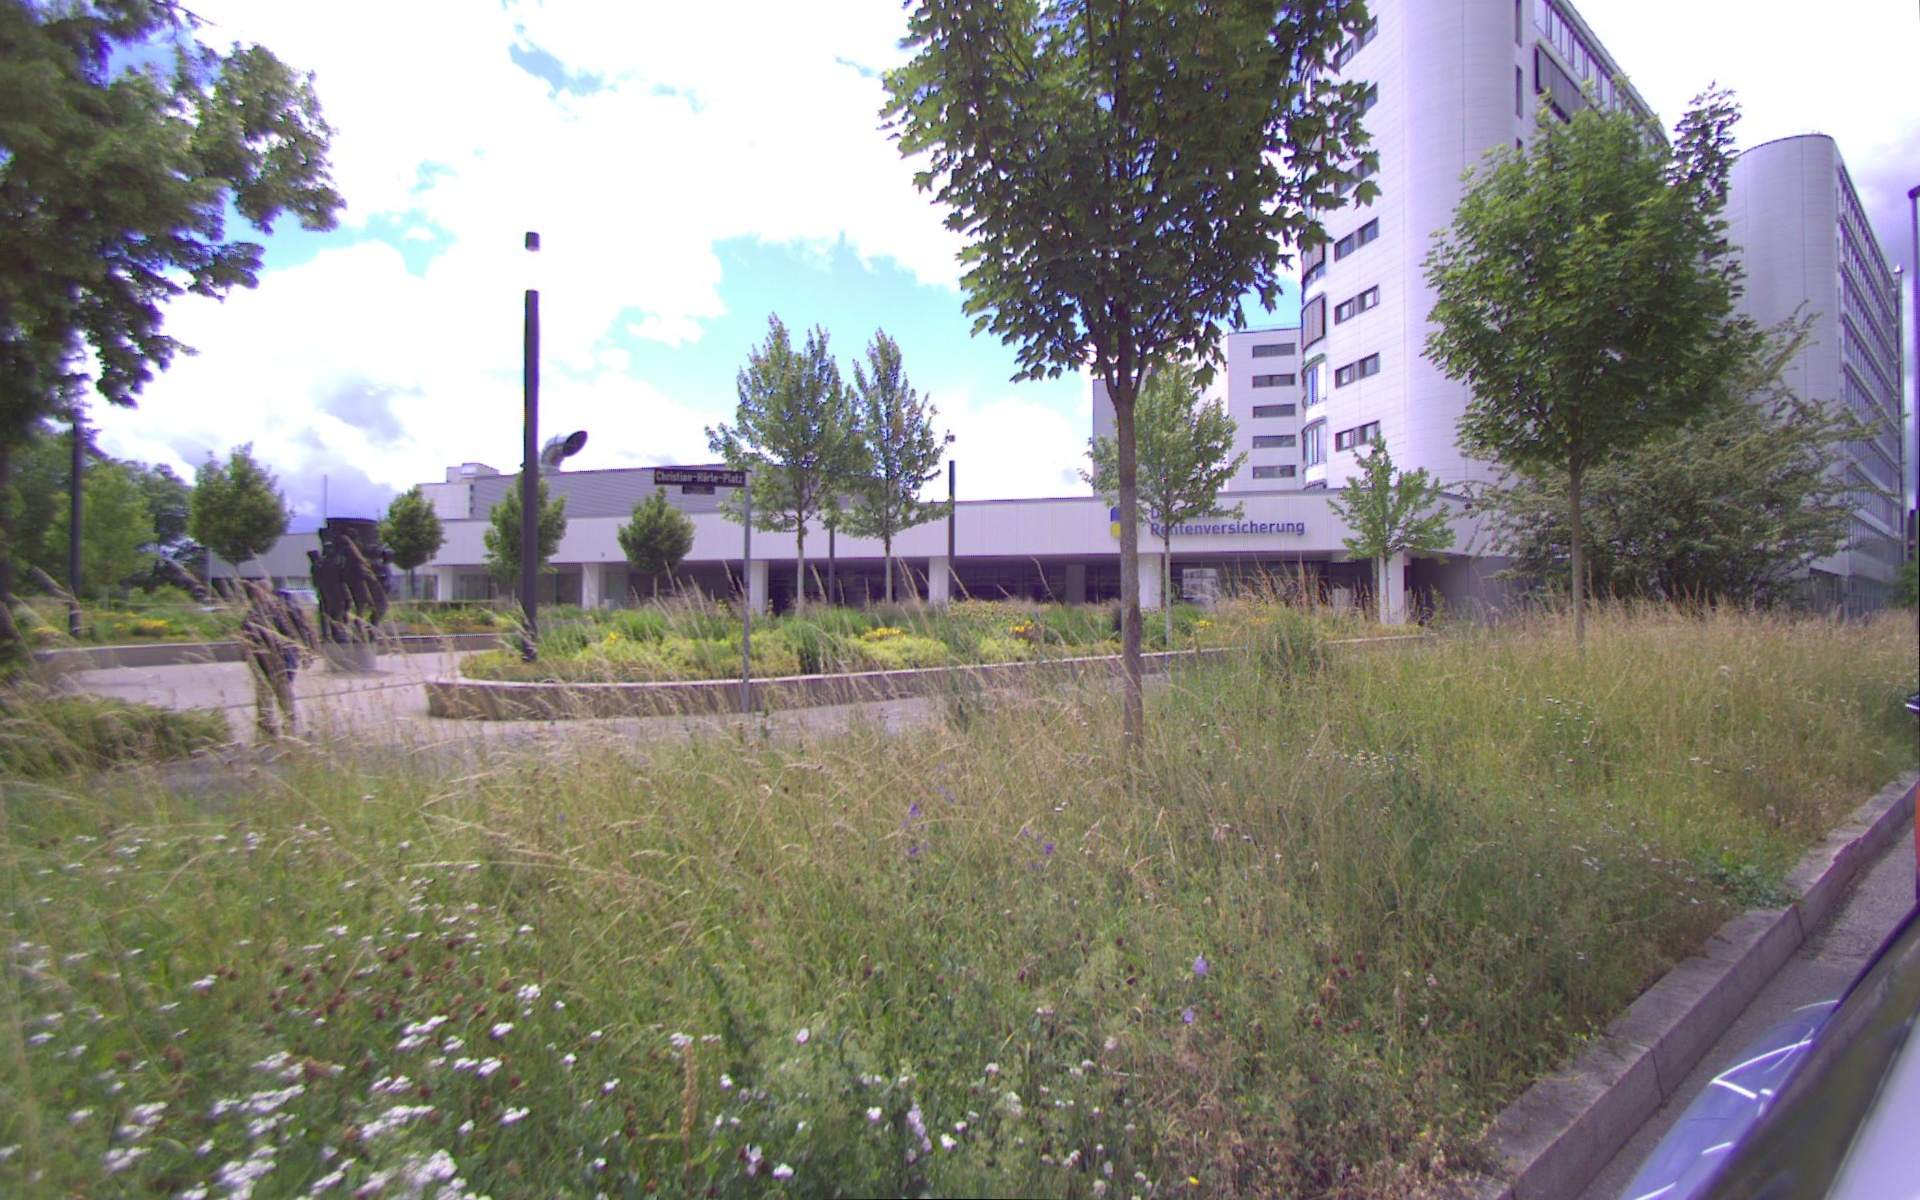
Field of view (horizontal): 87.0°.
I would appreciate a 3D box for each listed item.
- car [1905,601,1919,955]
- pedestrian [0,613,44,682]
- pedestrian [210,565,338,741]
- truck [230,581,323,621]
[{"bbox_3d":[5.806,0.753,4.641,3.611,1.434,1.748,0,1,-41],"label":"car"},{"bbox_3d":[-17.404,0.861,18.696,0.621,1.238,0.620,1,0,-36],"label":"pedestrian"},{"bbox_3d":[-6.680,0.496,9.892,0.757,1.646,0.765,0,0,-6],"label":"pedestrian"},{"bbox_3d":[-36.149,0.061,53.575,3.941,2.039,1.991,1,0,14],"label":"truck"}]
